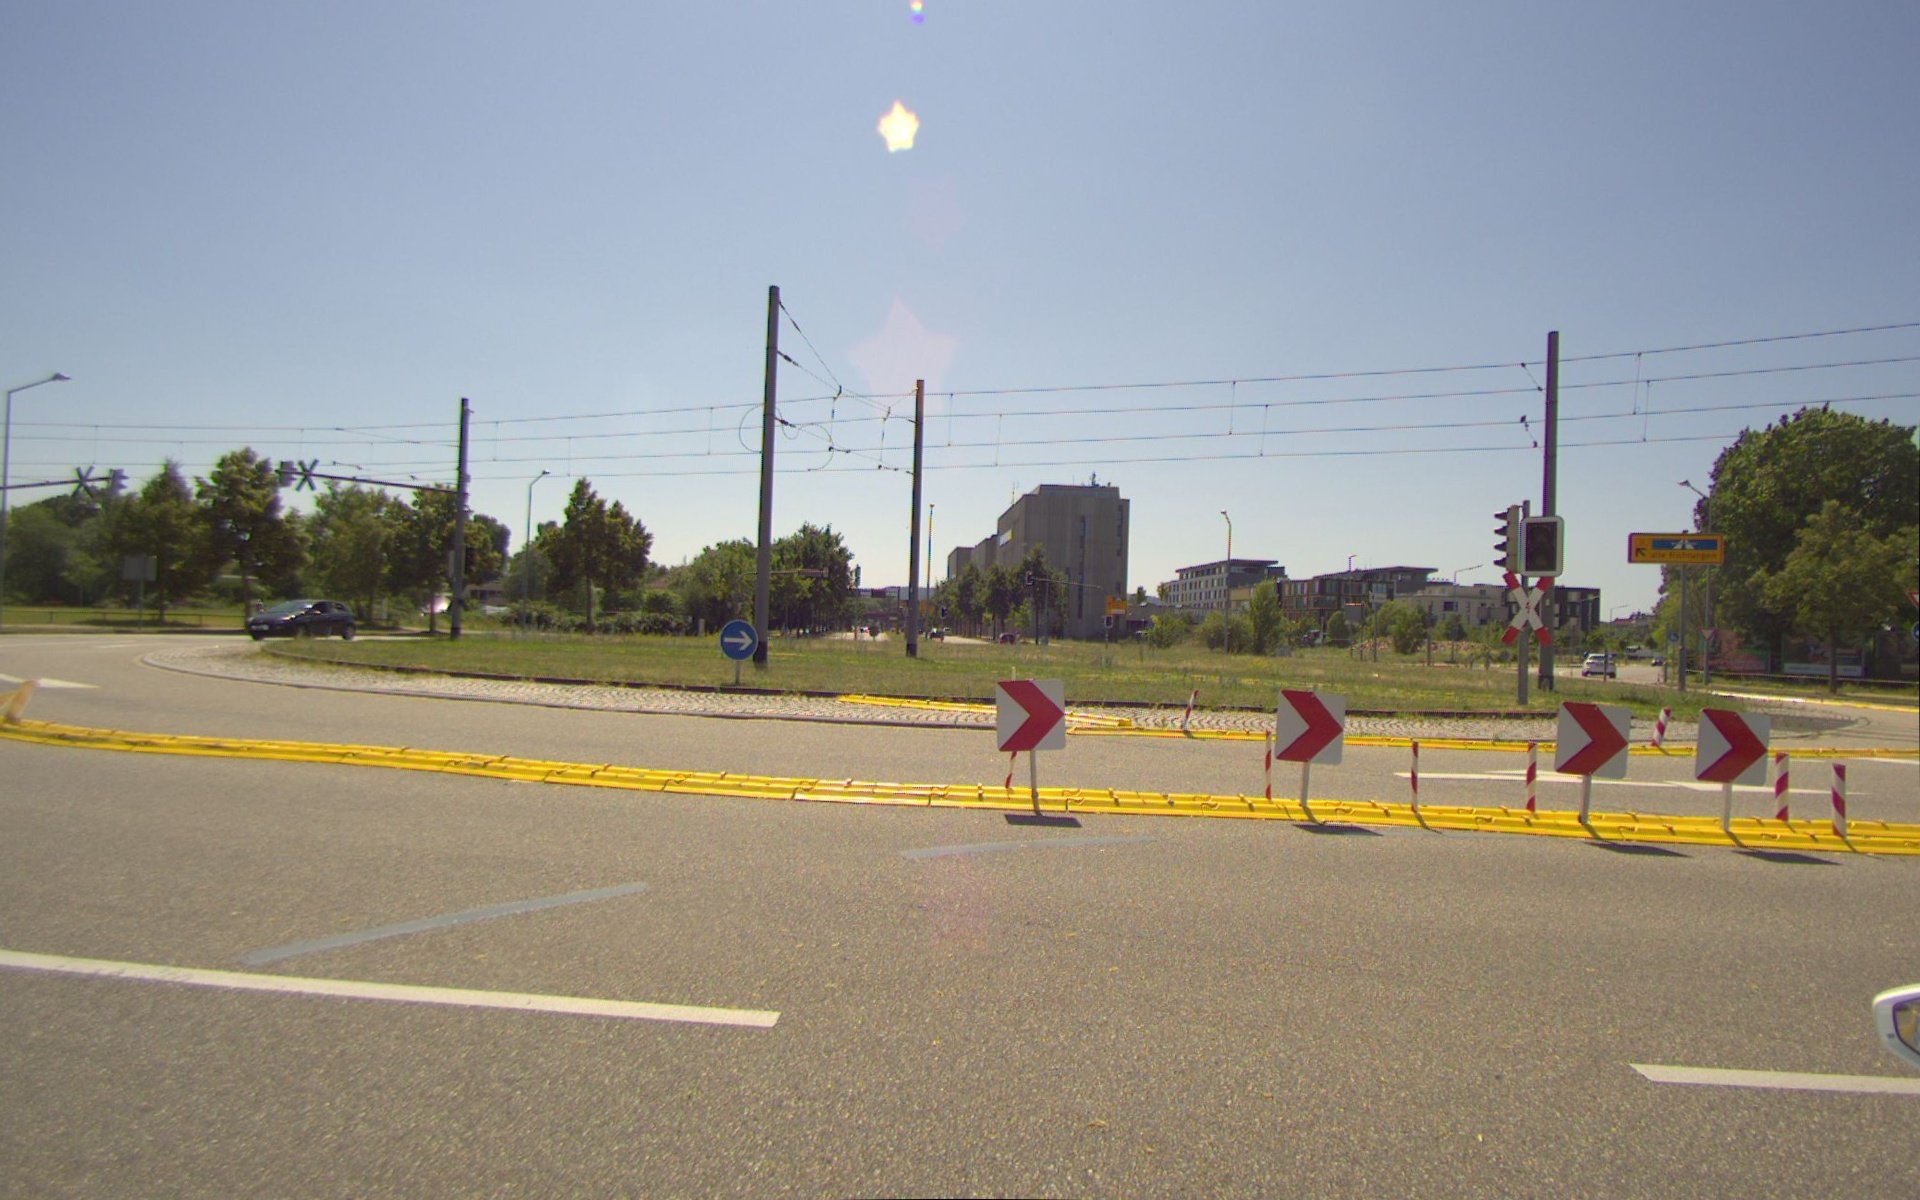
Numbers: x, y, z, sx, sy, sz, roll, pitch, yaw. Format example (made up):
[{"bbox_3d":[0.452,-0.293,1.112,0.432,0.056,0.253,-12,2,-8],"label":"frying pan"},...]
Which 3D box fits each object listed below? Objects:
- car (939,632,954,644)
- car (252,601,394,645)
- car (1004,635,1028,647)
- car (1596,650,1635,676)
[{"bbox_3d":[-1.784,5.023,134.168,1.726,1.427,3.399,2,-1,-4],"label":"car"},{"bbox_3d":[-22.859,0.840,36.254,1.940,1.437,4.002,2,-1,16],"label":"car"},{"bbox_3d":[5.786,4.307,104.697,1.473,1.104,3.509,2,-1,-15],"label":"car"},{"bbox_3d":[42.337,4.025,64.986,1.965,1.505,4.357,1,-1,32],"label":"car"}]
